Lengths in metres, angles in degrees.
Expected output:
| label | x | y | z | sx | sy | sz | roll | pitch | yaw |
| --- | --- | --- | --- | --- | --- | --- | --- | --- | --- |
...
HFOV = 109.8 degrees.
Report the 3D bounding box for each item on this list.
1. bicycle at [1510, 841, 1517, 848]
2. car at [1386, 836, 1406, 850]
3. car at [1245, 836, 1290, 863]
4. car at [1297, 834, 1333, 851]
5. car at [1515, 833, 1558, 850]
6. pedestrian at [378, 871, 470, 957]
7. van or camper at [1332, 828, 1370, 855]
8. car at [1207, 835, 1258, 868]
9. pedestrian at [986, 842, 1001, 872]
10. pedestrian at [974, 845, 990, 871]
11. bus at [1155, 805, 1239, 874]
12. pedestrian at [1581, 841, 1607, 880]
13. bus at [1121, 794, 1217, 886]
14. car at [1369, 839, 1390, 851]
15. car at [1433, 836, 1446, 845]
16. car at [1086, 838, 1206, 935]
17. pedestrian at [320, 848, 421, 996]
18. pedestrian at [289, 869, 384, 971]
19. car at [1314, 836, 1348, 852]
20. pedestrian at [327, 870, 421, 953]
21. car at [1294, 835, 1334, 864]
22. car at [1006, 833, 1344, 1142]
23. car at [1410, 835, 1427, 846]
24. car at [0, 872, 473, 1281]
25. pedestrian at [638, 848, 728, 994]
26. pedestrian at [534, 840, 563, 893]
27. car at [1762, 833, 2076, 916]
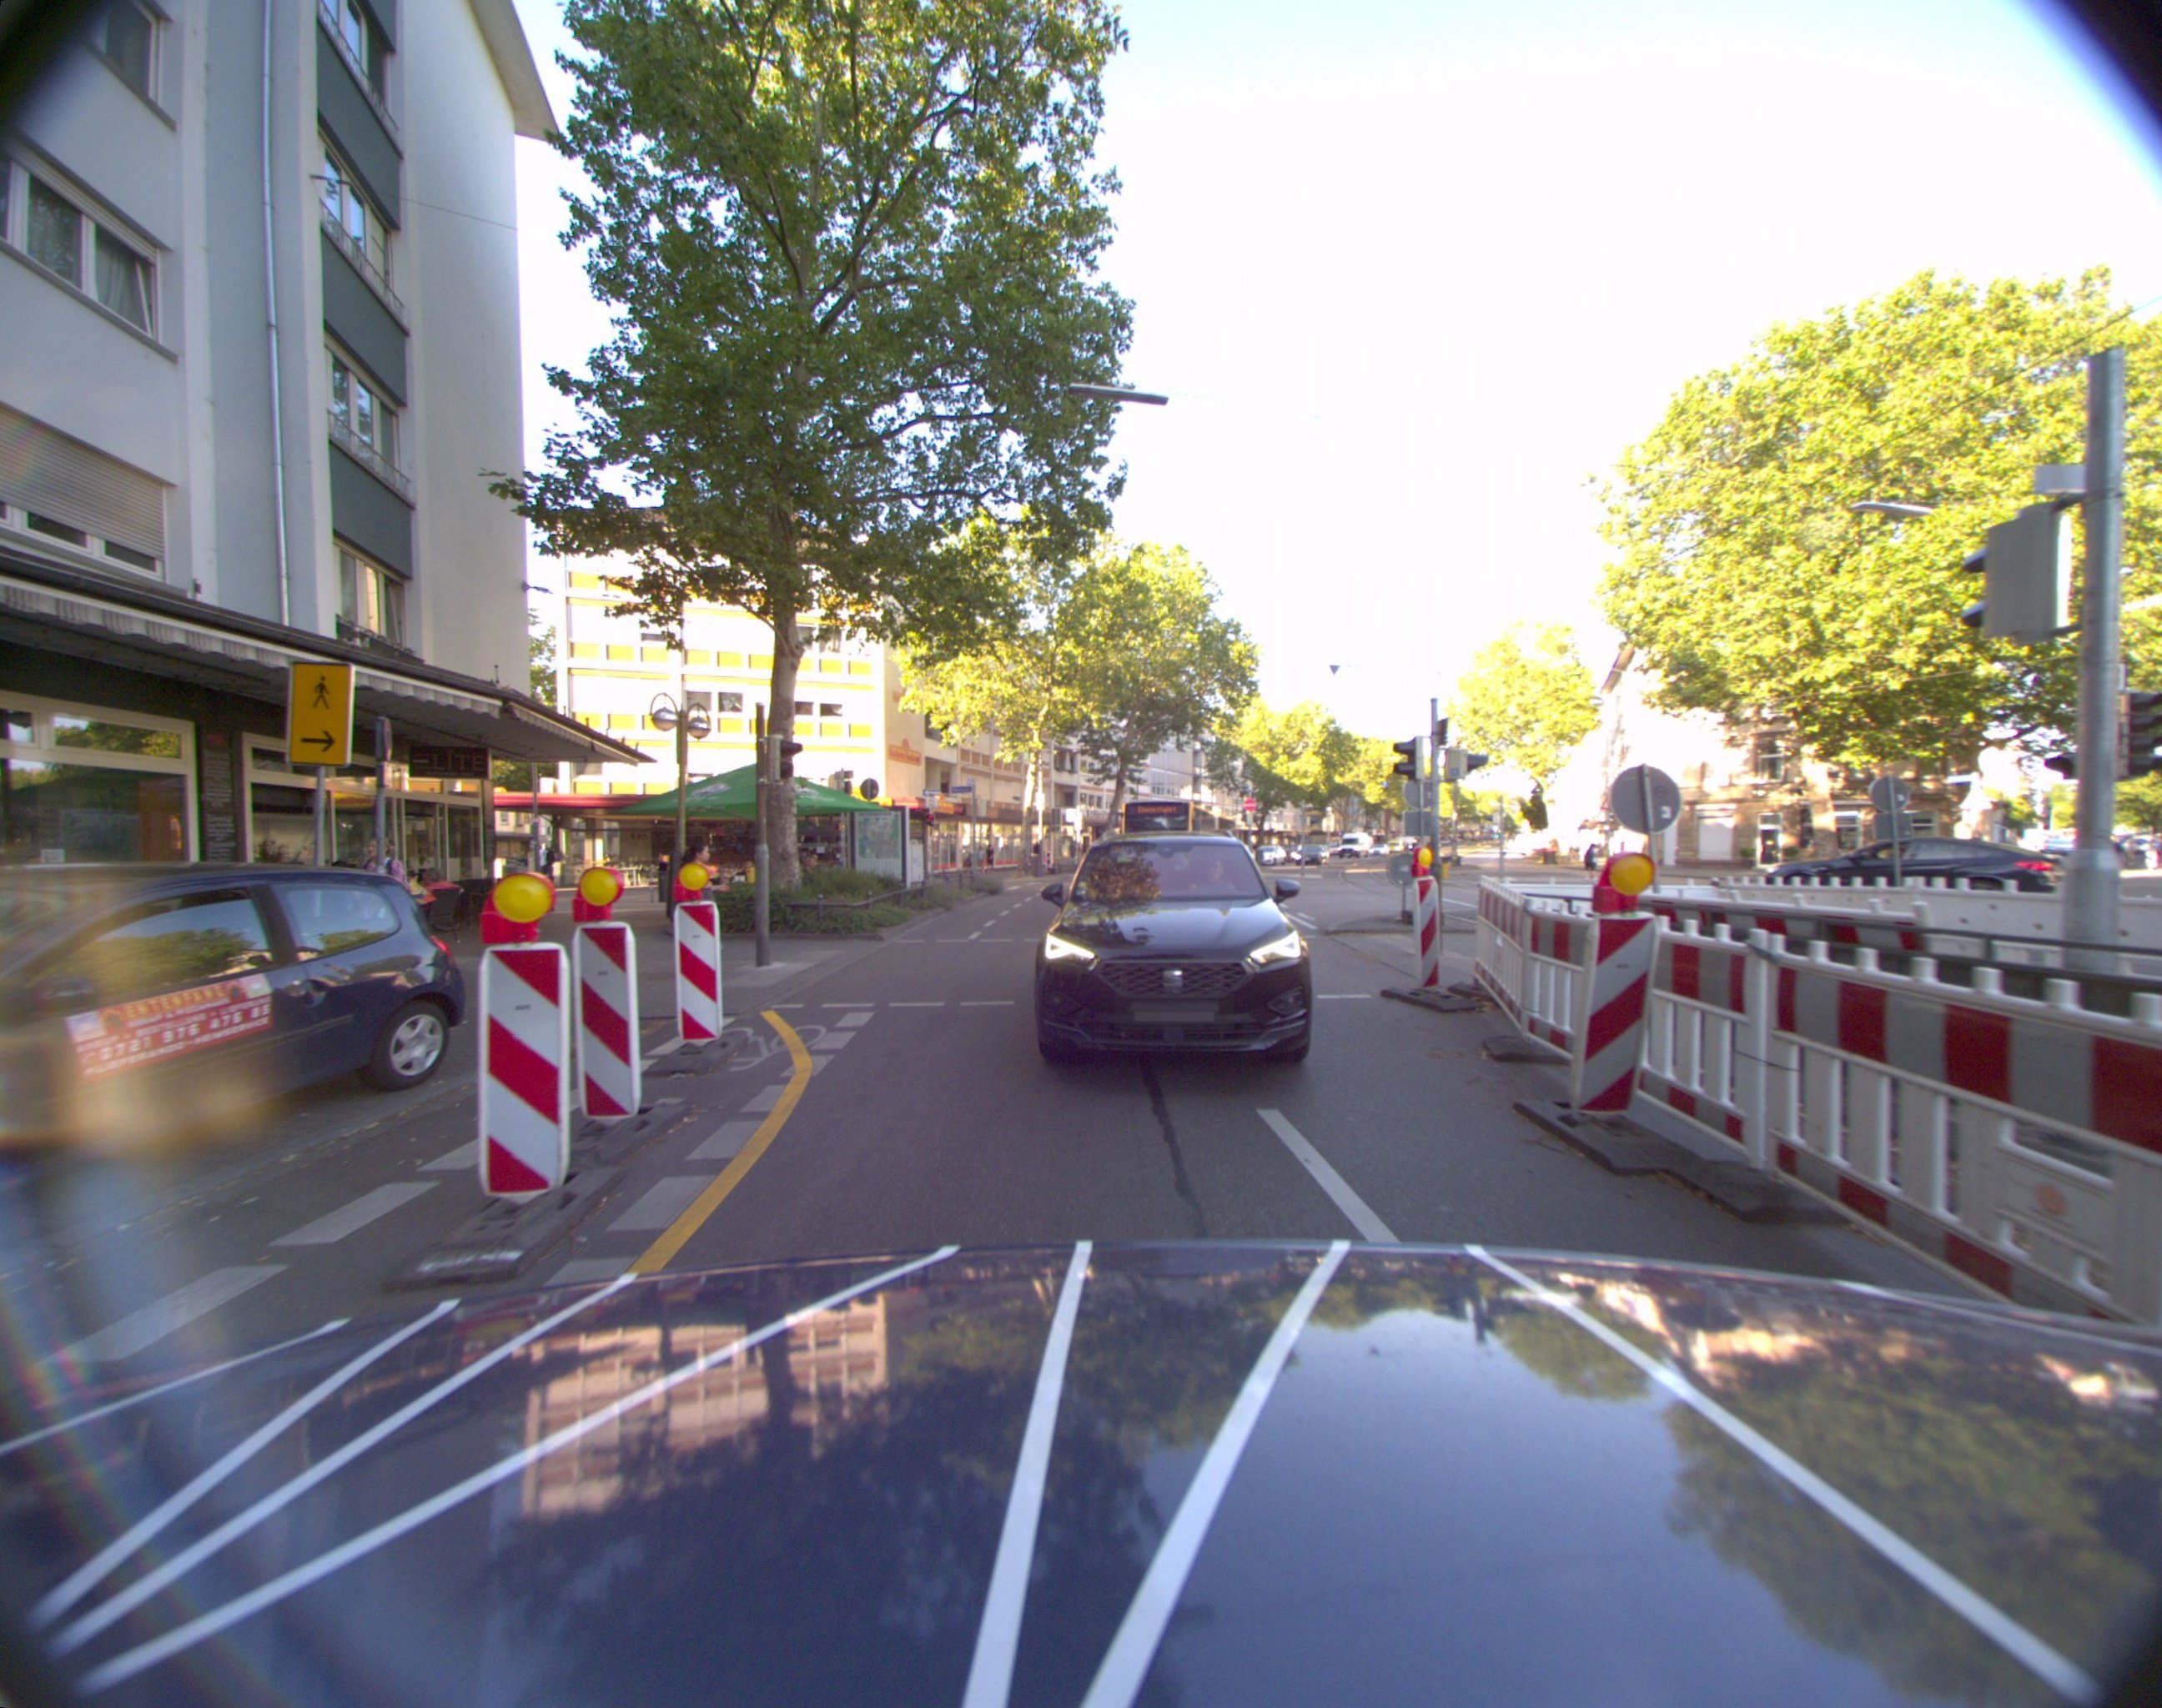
| label | x | y | z | sx | sy | sz | roll | pitch | yaw |
| --- | --- | --- | --- | --- | --- | --- | --- | --- | --- |
| bicycle | 74.690 | -1.640 | 131.322 | 0.850 | 1.186 | 2.470 | 0 | 1 | 25 |
| car | 41.894 | -1.487 | 100.972 | 1.836 | 1.792 | 4.138 | 0 | 1 | 31 |
| car | 13.964 | -0.364 | 56.819 | 1.994 | 2.002 | 4.008 | 0 | 1 | 33 |
| car | 29.032 | -1.404 | 94.426 | 3.994 | 2.002 | 2.001 | 0 | 1 | 8 |
| car | 52.945 | -1.439 | 88.394 | 4.001 | 2.002 | 1.997 | -1 | 1 | -13 |
| pedestrian | -9.788 | 0.868 | 11.328 | 0.877 | 1.186 | 0.701 | 0 | 2 | 24 |
| van or camper | 28.425 | -1.290 | 79.783 | 2.419 | 2.702 | 6.144 | 0 | 1 | 32 |
| car | 9.627 | -0.194 | 47.928 | 1.994 | 2.002 | 4.105 | 0 | 1 | 29 |
| pedestrian | -4.715 | 0.144 | 40.919 | 0.627 | 1.577 | 0.532 | 0 | 2 | 21 |
| pedestrian | -5.364 | 0.206 | 41.173 | 0.627 | 1.429 | 0.532 | 0 | 2 | 21 |
| bus | 6.105 | -0.712 | 38.633 | 2.717 | 3.088 | 8.608 | 0 | 1 | 19 |
| pedestrian | 20.523 | 0.260 | 30.391 | 0.603 | 1.525 | 0.745 | 0 | 2 | 12 |
| bus | 3.736 | -0.543 | 30.141 | 2.718 | 3.088 | 8.629 | 0 | 1 | 14 |
| car | 35.382 | -1.085 | 90.030 | 1.700 | 1.462 | 3.771 | 0 | 1 | 31 |
| car | 67.926 | -2.535 | 143.973 | 1.836 | 1.792 | 4.138 | 0 | 1 | 31 |
| car | 1.134 | 0.517 | 14.818 | 1.998 | 1.634 | 4.075 | 0 | 1 | 1 |
| pedestrian | -8.114 | 0.746 | 8.708 | 0.629 | 1.628 | 0.531 | -1 | 1 | -14 |
| pedestrian | -10.203 | 0.872 | 10.425 | 0.789 | 1.299 | 0.701 | 0 | 2 | 29 |
| car | 32.924 | -1.285 | 100.049 | 3.994 | 2.002 | 2.001 | 0 | 1 | 8 |
| pedestrian | -10.768 | 0.859 | 11.598 | 0.647 | 1.186 | 0.792 | 0 | 1 | 7 |
| car | 16.827 | -0.367 | 54.779 | 1.995 | 2.002 | 4.007 | 0 | 1 | 28 |
| car | 0.553 | 0.707 | 6.172 | 1.841 | 1.696 | 3.999 | 0 | 1 | 1 |
| car | 53.659 | -2.111 | 120.798 | 1.836 | 1.792 | 4.138 | 0 | 1 | 31 |
| car | -5.169 | 0.925 | 3.562 | 1.771 | 1.459 | 3.610 | 2 | 1 | -2 |
| pedestrian | -4.677 | 0.756 | 8.980 | 0.583 | 1.637 | 0.796 | -2 | 2 | -1 |
| pedestrian | -19.976 | 0.456 | 28.507 | 0.887 | 1.948 | 0.650 | 1 | 2 | 41 |
| car | 19.116 | 0.367 | 17.605 | 2.003 | 1.652 | 4.547 | -1 | 1 | -31 |
